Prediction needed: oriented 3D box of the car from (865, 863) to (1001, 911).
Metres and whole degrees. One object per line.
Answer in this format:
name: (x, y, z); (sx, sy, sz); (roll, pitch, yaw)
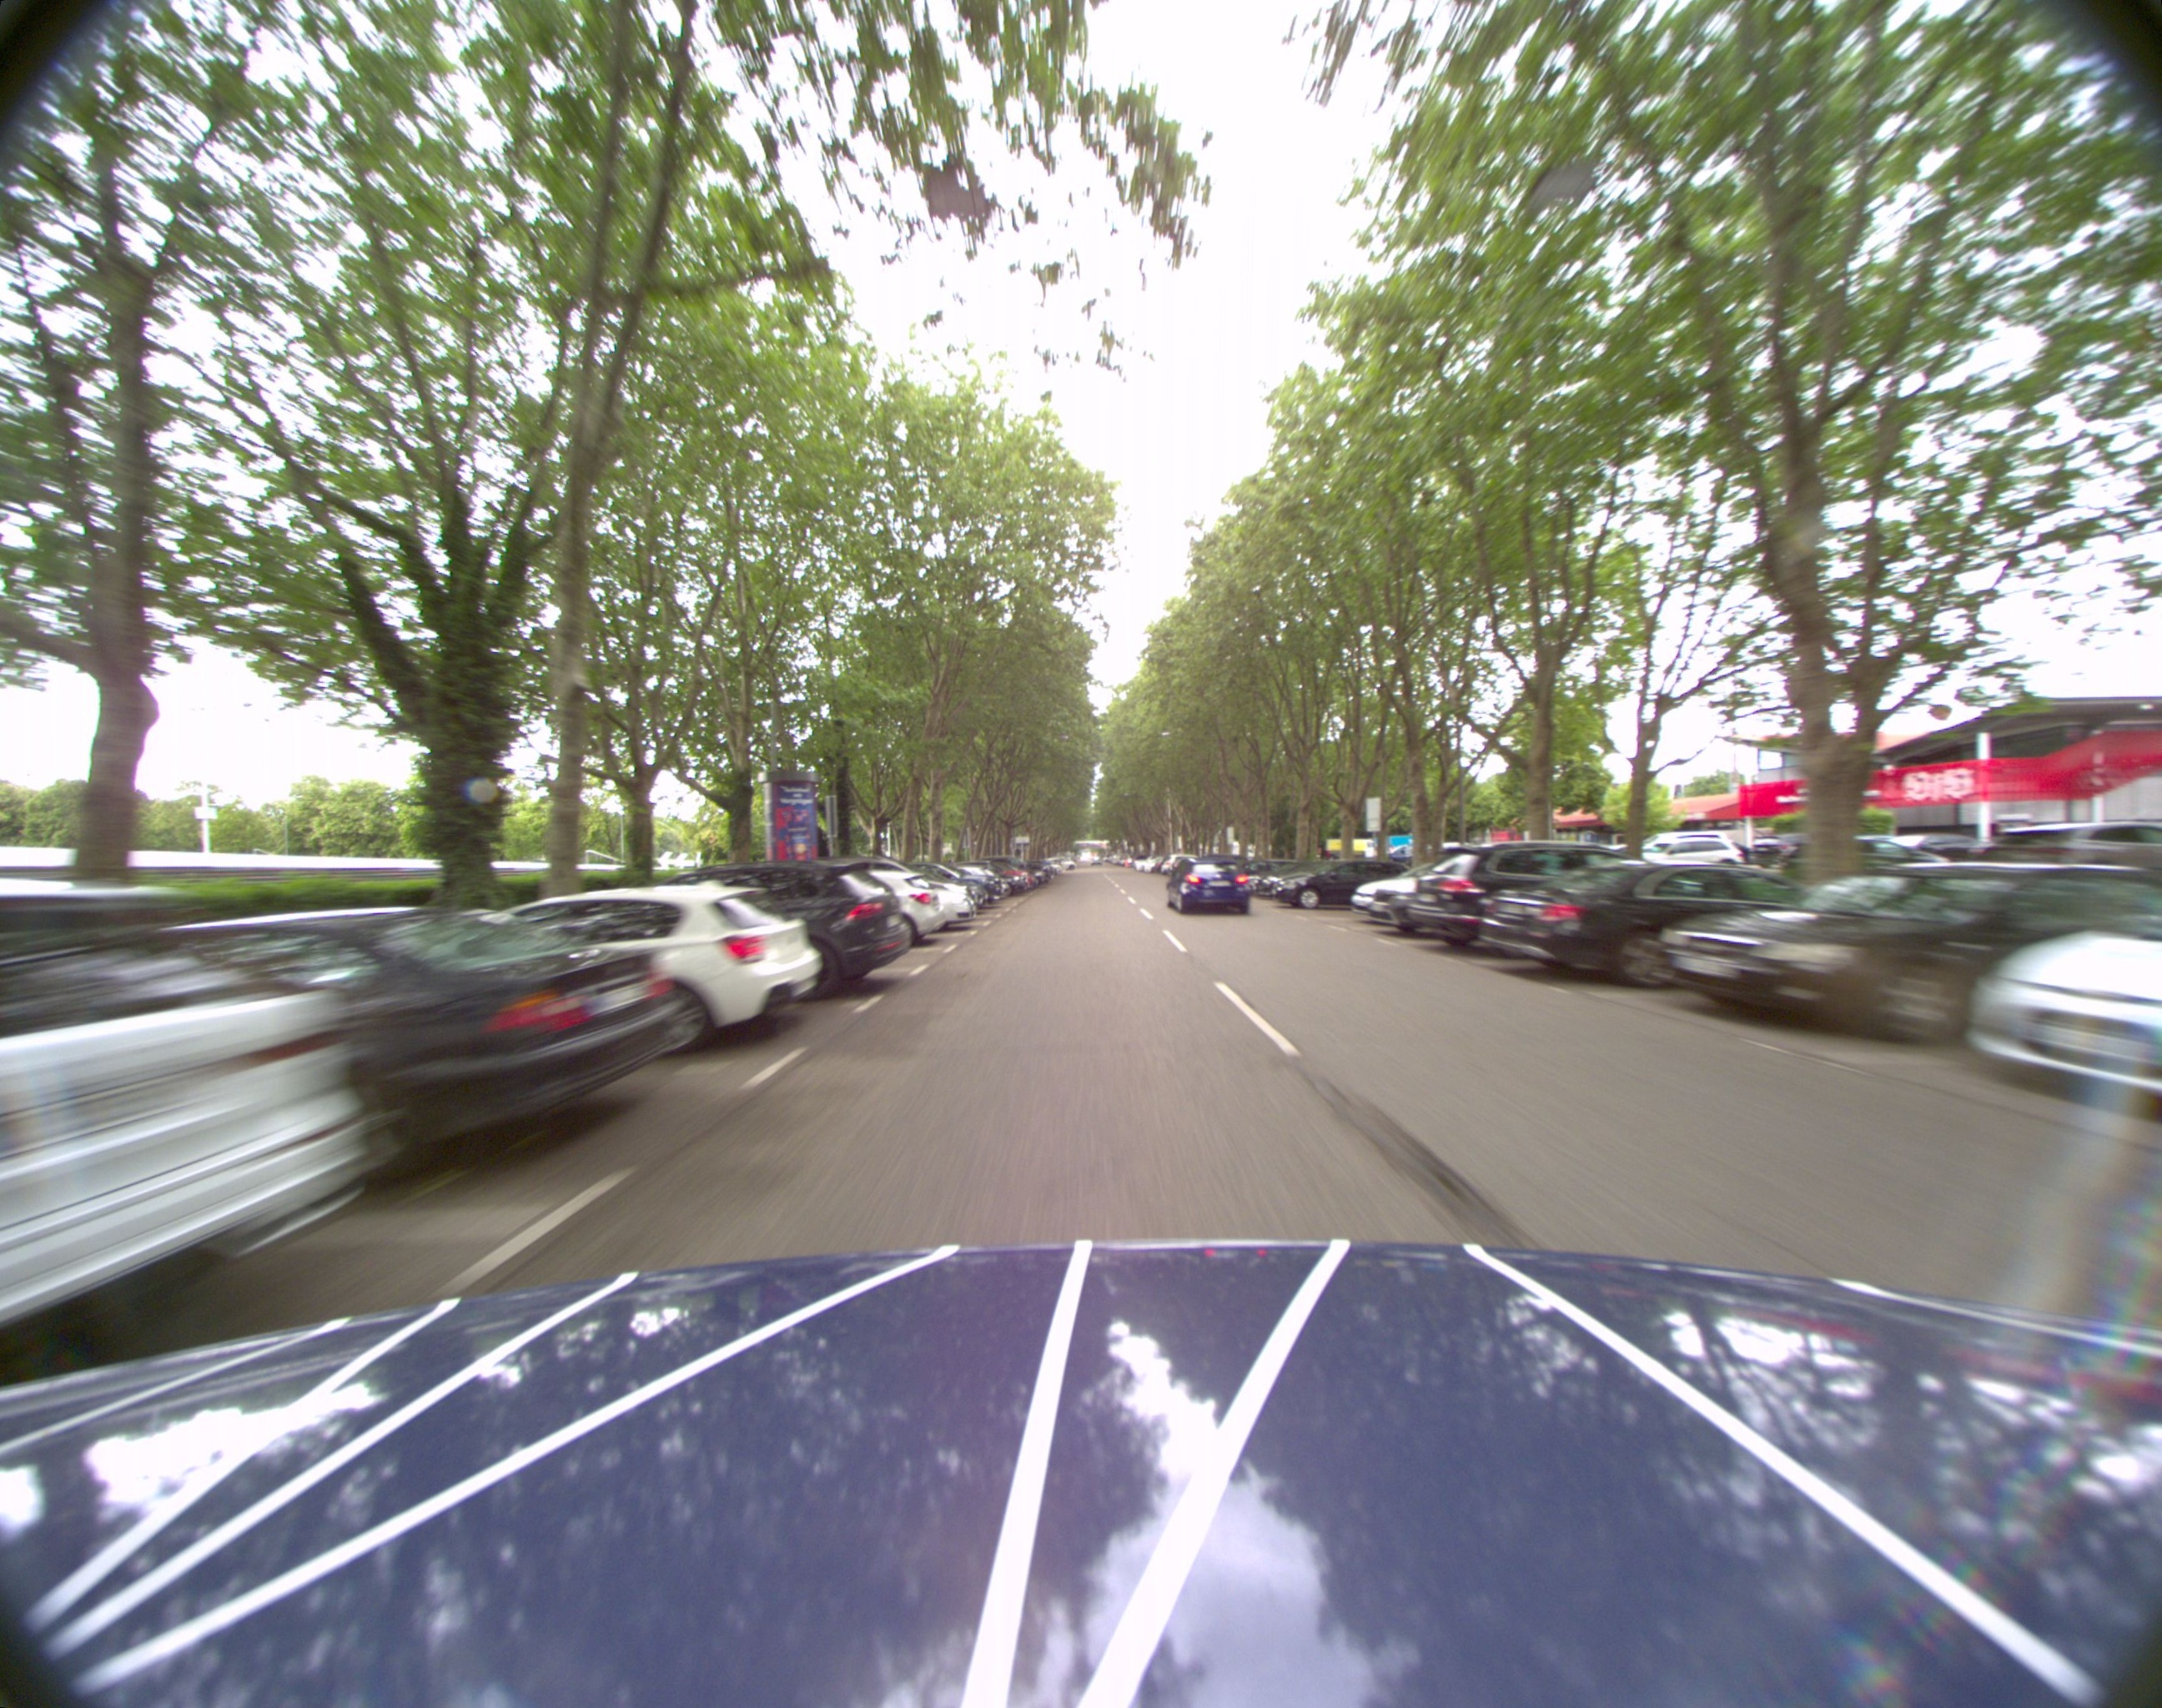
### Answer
car: (-5.192, 1.150, 27.080); (4.357, 1.405, 1.926); (-3, 0, 1)

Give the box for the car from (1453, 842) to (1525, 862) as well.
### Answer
car: (34.662, -0.172, 64.619); (4.954, 1.512, 2.183); (-2, 1, -1)

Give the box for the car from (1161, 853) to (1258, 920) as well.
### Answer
car: (3.316, 0.786, 20.369); (1.847, 1.501, 4.014); (-2, 1, -1)

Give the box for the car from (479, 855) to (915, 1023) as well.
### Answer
car: (-4.453, 0.937, 9.384); (4.357, 1.750, 1.925); (-1, 0, -1)

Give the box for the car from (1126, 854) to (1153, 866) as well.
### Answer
car: (7.984, 0.771, 104.097); (3.565, 1.569, 1.847); (0, 0, 3)

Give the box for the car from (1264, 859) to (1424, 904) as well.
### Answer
car: (8.308, 0.842, 24.299); (4.474, 1.361, 1.880); (0, 0, 0)

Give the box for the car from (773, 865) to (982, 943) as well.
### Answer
car: (-4.464, 1.077, 17.079); (4.159, 1.449, 1.727); (-3, 0, 1)

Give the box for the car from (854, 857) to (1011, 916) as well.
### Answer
car: (-4.712, 1.026, 24.555); (4.602, 1.629, 1.873); (-3, 0, 3)

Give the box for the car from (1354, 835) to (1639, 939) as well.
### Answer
car: (7.621, 0.592, 14.207); (4.329, 1.799, 1.867); (0, 0, -3)

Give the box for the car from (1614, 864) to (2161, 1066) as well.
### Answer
car: (7.572, 0.859, 6.829); (4.200, 1.346, 1.967); (-2, 1, -2)

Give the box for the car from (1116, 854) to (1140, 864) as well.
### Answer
car: (7.951, 0.860, 128.971); (4.039, 1.518, 1.800); (0, -1, 2)

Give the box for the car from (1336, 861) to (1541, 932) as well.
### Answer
car: (7.889, 0.893, 16.906); (3.795, 1.463, 1.763); (0, 0, -10)

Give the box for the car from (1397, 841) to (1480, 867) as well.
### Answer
car: (23.579, -0.005, 50.228); (4.564, 1.710, 2.000); (0, 0, -2)

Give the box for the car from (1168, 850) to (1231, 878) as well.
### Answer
car: (8.070, 0.661, 51.960); (3.996, 1.672, 1.855); (-2, 1, 2)

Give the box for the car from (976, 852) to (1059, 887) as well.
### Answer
car: (-3.623, 0.877, 43.977); (4.506, 1.786, 2.047); (-3, 0, 0)

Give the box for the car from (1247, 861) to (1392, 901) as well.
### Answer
car: (8.228, 0.918, 26.494); (4.473, 1.340, 1.902); (0, 0, 2)

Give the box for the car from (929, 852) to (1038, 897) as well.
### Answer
car: (-4.395, 0.913, 34.780); (4.505, 1.786, 2.048); (-3, 0, 5)

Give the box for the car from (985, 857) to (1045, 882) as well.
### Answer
car: (-4.719, 1.099, 54.717); (4.207, 1.509, 1.785); (-3, 0, -3)

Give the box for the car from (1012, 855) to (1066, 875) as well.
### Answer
car: (-3.645, 0.962, 67.177); (4.535, 1.613, 2.054); (-2, 0, 1)

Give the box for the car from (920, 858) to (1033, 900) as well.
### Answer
car: (-4.373, 1.041, 32.108); (4.356, 1.493, 1.926); (-3, 0, 4)

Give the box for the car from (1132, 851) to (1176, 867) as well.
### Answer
car: (7.734, 0.551, 81.051); (4.420, 1.616, 2.047); (0, 0, -2)

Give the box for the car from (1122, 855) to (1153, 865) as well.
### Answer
car: (8.302, 0.847, 111.828); (4.575, 1.425, 2.090); (0, 0, 3)

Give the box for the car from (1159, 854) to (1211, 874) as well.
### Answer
car: (8.397, 0.769, 61.785); (3.996, 1.445, 1.855); (-2, 1, 2)

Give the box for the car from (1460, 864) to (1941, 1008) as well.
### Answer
car: (7.203, 0.894, 9.258); (4.138, 1.443, 2.014); (1, 0, 2)

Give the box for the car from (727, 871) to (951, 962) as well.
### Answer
car: (-4.436, 1.132, 14.356); (3.649, 1.418, 1.665); (-3, 0, -2)

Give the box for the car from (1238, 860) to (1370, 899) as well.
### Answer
car: (8.447, 0.953, 29.045); (4.475, 1.358, 1.859); (1, 0, -1)

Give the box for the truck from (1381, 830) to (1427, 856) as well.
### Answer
truck: (35.710, -1.208, 84.052); (3.997, 2.701, 2.376); (-2, 1, -1)

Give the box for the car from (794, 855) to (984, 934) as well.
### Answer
car: (-4.839, 1.003, 19.617); (4.357, 1.735, 1.837); (-3, 0, -1)

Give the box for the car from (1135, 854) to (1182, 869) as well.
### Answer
car: (7.507, 0.704, 74.141); (4.419, 1.416, 1.776); (0, 0, -1)

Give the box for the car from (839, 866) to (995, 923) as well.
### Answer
car: (-4.649, 1.146, 21.984); (4.050, 1.372, 1.744); (-3, 0, 1)

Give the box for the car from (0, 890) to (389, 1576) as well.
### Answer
car: (-4.836, 1.048, 1.929); (4.357, 1.624, 1.926); (-3, 0, 1)

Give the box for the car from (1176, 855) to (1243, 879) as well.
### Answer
car: (8.271, 0.841, 49.171); (3.997, 1.361, 1.843); (-2, 1, -1)

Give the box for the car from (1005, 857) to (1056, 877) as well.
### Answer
car: (-4.178, 1.060, 62.197); (4.027, 1.439, 1.913); (-3, 0, -5)

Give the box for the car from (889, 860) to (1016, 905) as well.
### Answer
car: (-4.877, 1.081, 29.234); (4.355, 1.493, 1.926); (-3, 0, 7)

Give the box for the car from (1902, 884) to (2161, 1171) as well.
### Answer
car: (7.710, 0.911, 4.349); (3.997, 1.396, 1.885); (-2, 1, -1)
